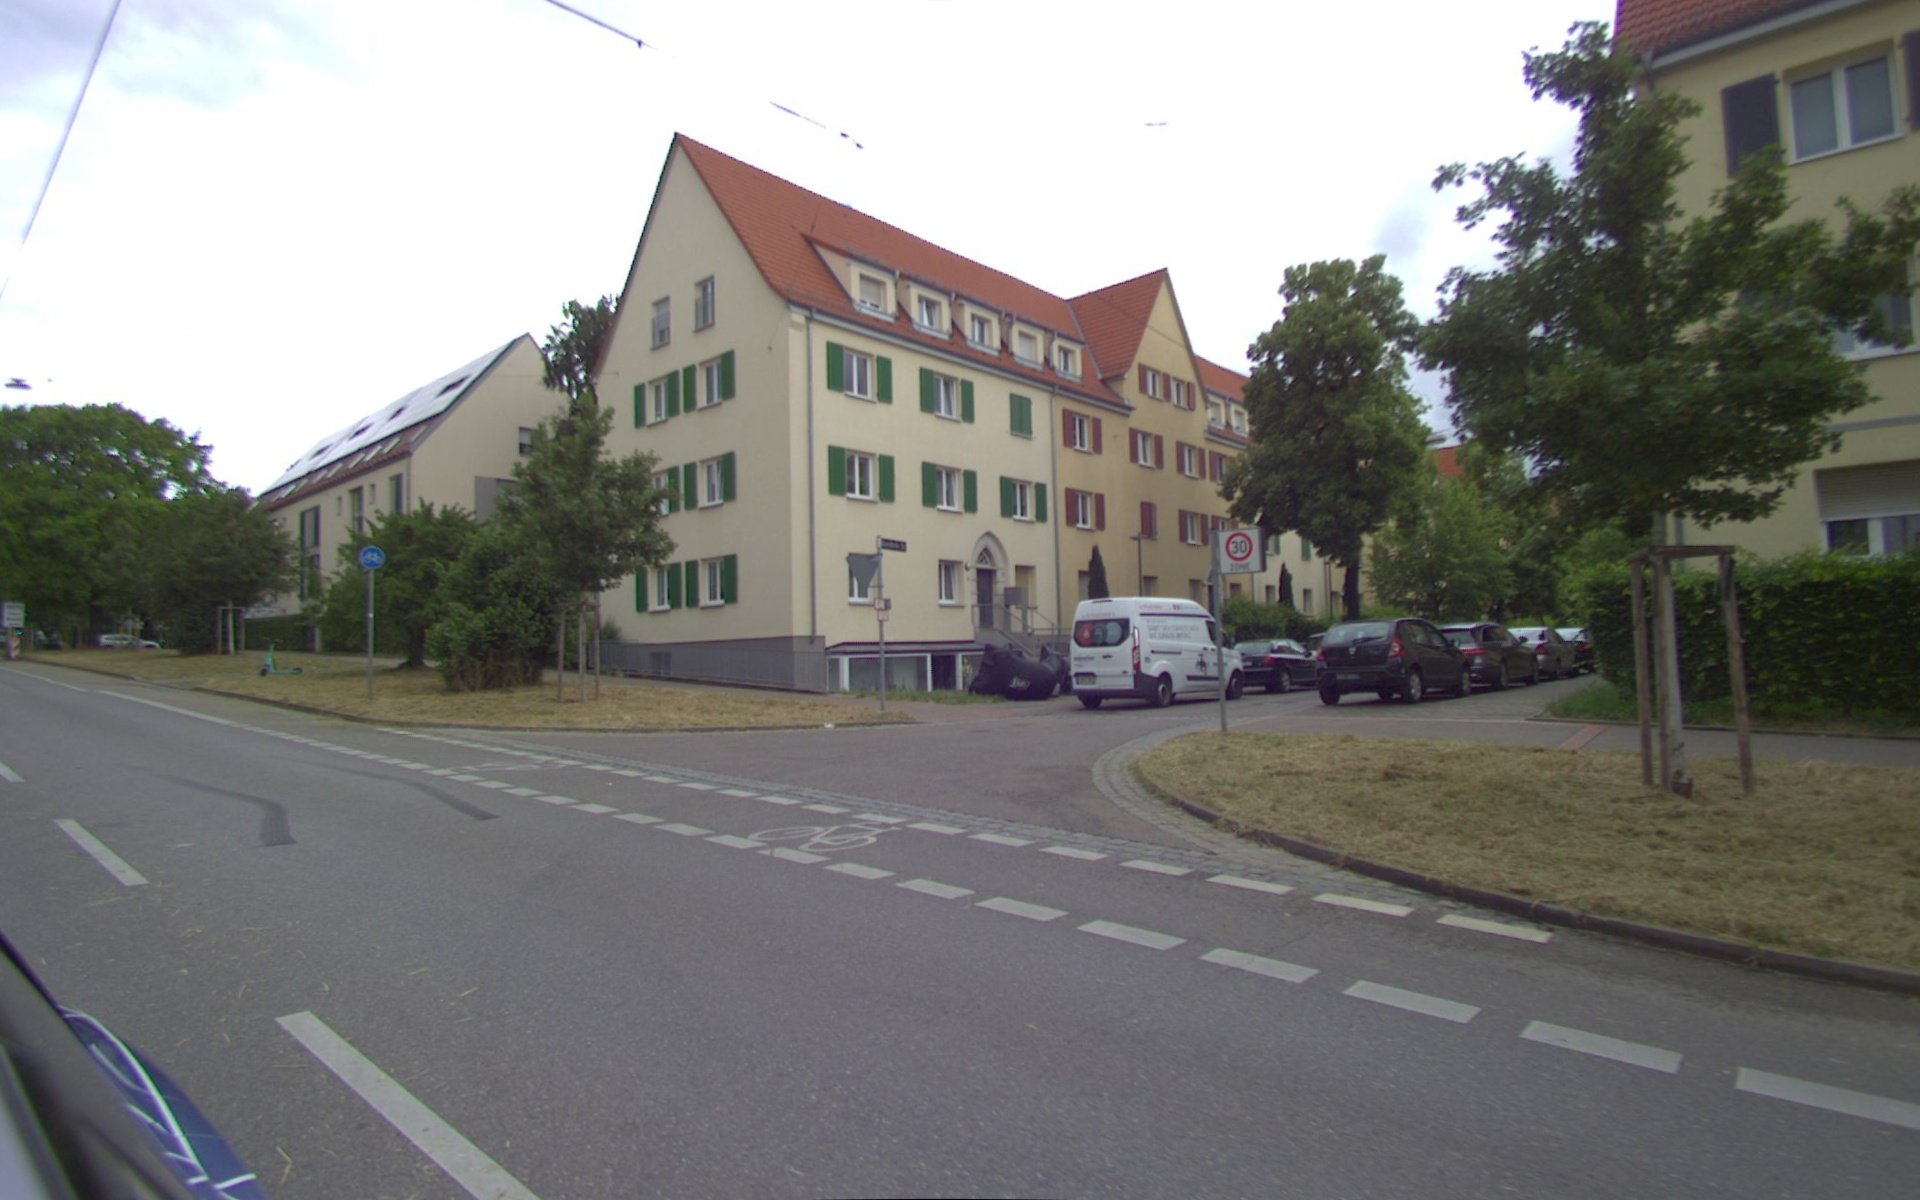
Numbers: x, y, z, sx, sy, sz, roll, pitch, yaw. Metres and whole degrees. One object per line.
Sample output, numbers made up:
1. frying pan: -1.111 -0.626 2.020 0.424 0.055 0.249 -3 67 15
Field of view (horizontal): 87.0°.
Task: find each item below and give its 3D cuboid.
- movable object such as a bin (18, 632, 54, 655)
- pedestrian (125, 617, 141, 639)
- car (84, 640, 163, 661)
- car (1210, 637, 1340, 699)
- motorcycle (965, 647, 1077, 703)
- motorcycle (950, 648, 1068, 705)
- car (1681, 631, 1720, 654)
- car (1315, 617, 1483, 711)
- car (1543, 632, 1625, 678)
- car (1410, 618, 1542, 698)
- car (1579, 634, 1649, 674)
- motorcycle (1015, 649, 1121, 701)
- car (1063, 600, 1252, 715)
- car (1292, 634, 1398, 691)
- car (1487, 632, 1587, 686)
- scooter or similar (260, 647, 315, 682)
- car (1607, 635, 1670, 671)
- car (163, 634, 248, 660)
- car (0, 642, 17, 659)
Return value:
1. movable object such as a bin: -75.982 3.572 83.214 3.234 1.918 1.088 -2 -2 27
2. pedestrian: -66.783 2.293 81.732 0.682 1.770 0.775 -1 -2 10
3. car: -60.665 3.690 73.438 1.801 1.475 3.986 -1 -4 31
4. car: 8.354 1.727 26.660 1.745 1.478 3.774 -2 -3 44
5. motorcycle: 1.505 1.832 25.063 2.562 1.288 1.020 0 -2 -16
6. motorcycle: 1.133 1.780 23.756 2.562 1.288 1.020 1 -2 -15
7. car: 44.710 2.563 61.077 1.541 1.248 3.379 -7 -5 41
8. car: 8.236 1.152 18.836 1.690 1.542 3.864 -7 -5 41
9. car: 19.225 1.674 31.116 1.541 1.248 3.379 -7 -5 41
10. car: 11.199 1.229 21.870 1.620 1.542 3.612 -7 -5 41
11. car: 22.988 1.867 35.524 1.541 1.248 3.379 -7 -5 41
12. motorcycle: 2.818 1.938 26.582 2.598 1.288 1.005 -2 -2 33
13. car: 4.465 1.223 22.408 1.994 2.270 4.667 -2 -3 42
14. car: 11.625 1.826 30.457 1.744 1.578 3.777 -2 -2 41
15. car: 15.057 1.514 26.348 1.541 1.248 3.379 -7 -5 41
16. scooter or similar: -21.073 2.011 31.729 0.466 1.094 1.357 -2 -4 37
17. car: 26.321 2.034 39.232 1.541 1.248 3.379 -7 -5 41
18. car: -59.796 3.691 80.303 1.999 1.932 5.086 -2 -2 41
19. car: -96.599 5.065 102.095 4.000 1.618 1.835 -2 -2 43
